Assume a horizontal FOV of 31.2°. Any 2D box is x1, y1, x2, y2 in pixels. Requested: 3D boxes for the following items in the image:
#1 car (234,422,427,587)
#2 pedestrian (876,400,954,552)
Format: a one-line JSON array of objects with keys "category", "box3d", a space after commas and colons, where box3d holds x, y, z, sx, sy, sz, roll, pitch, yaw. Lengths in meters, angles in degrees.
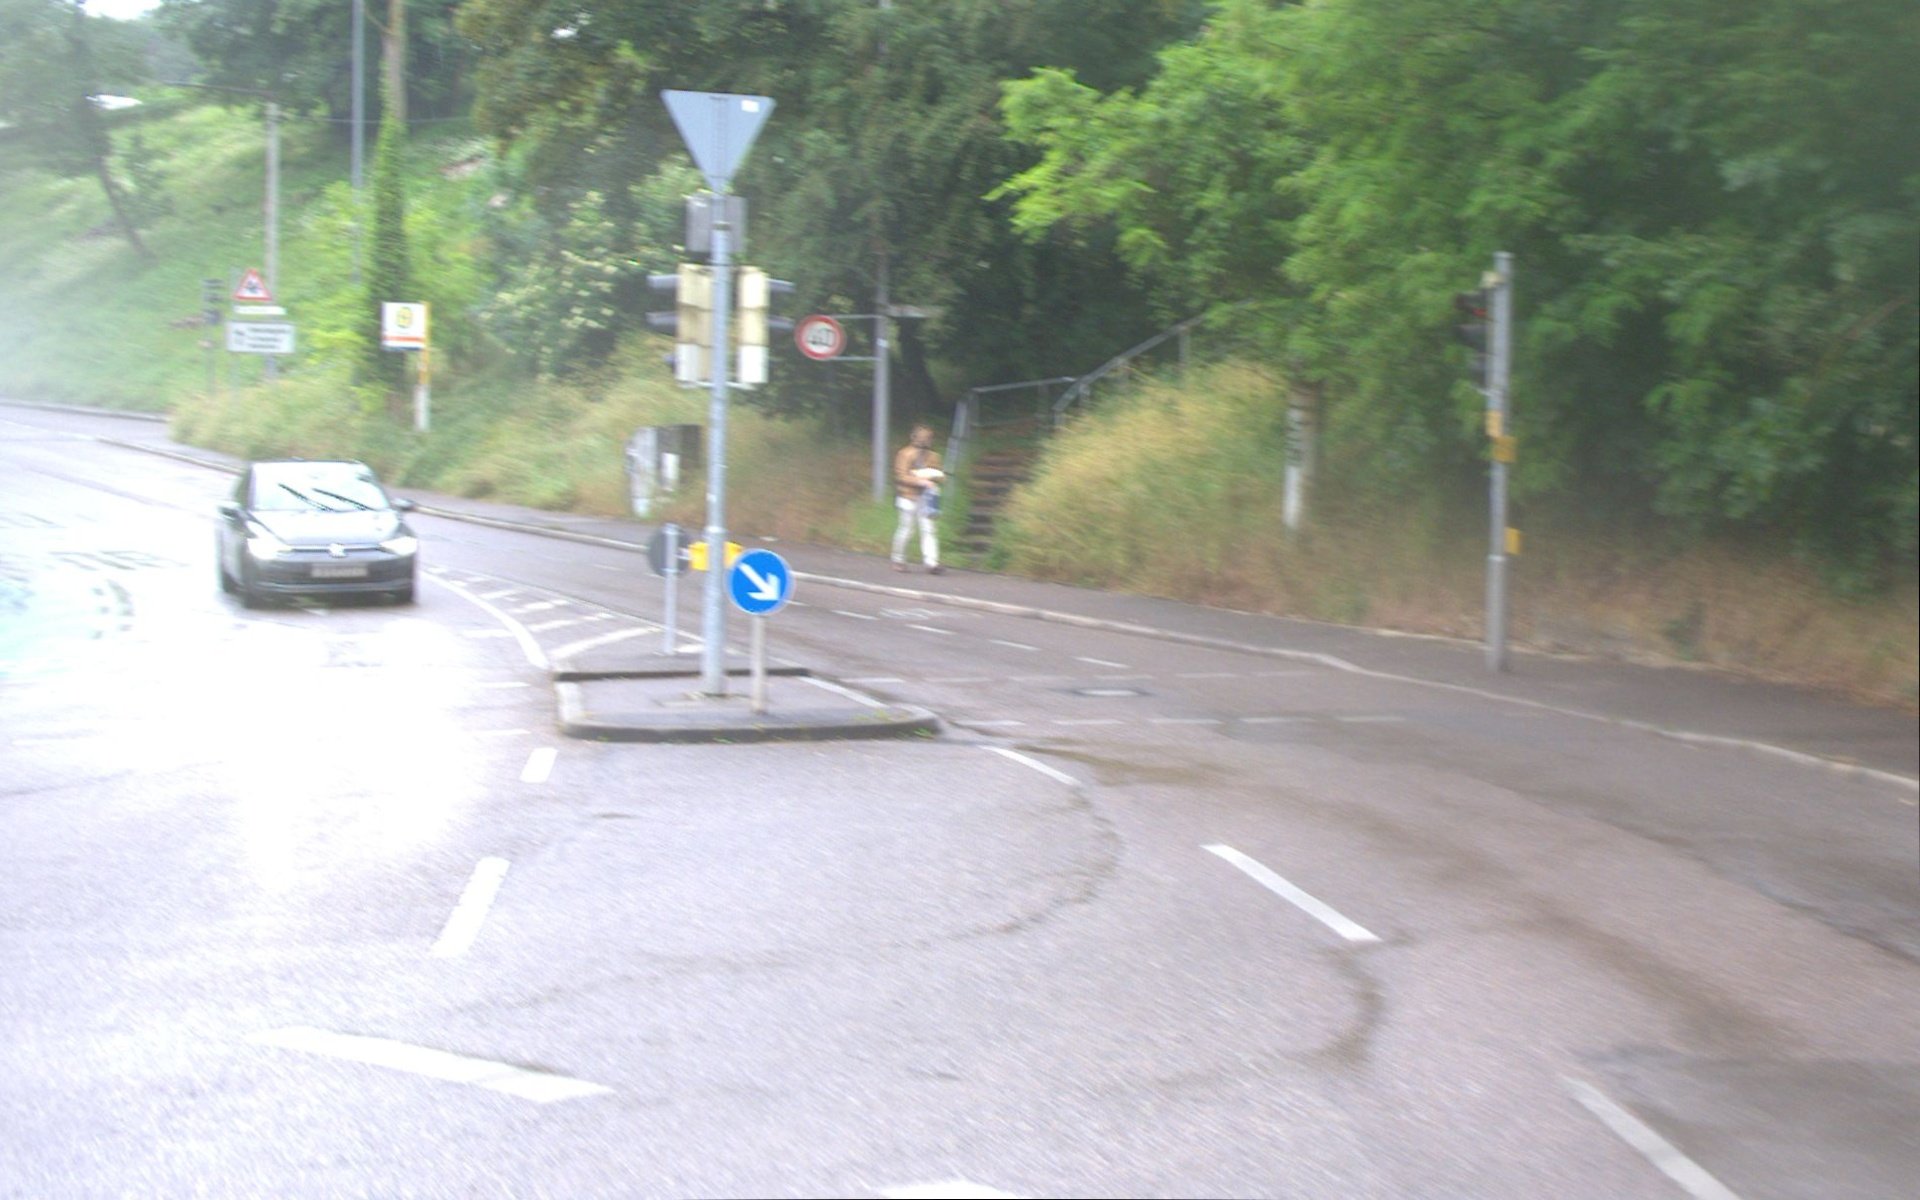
[{"category": "car", "box3d": [-6.740, -1.082, 36.861, 1.882, 1.516, 4.694, -1, 5, -10]}, {"category": "pedestrian", "box3d": [-0.536, -1.464, 40.487, 0.647, 1.746, 0.800, 1, 3, -19]}]
